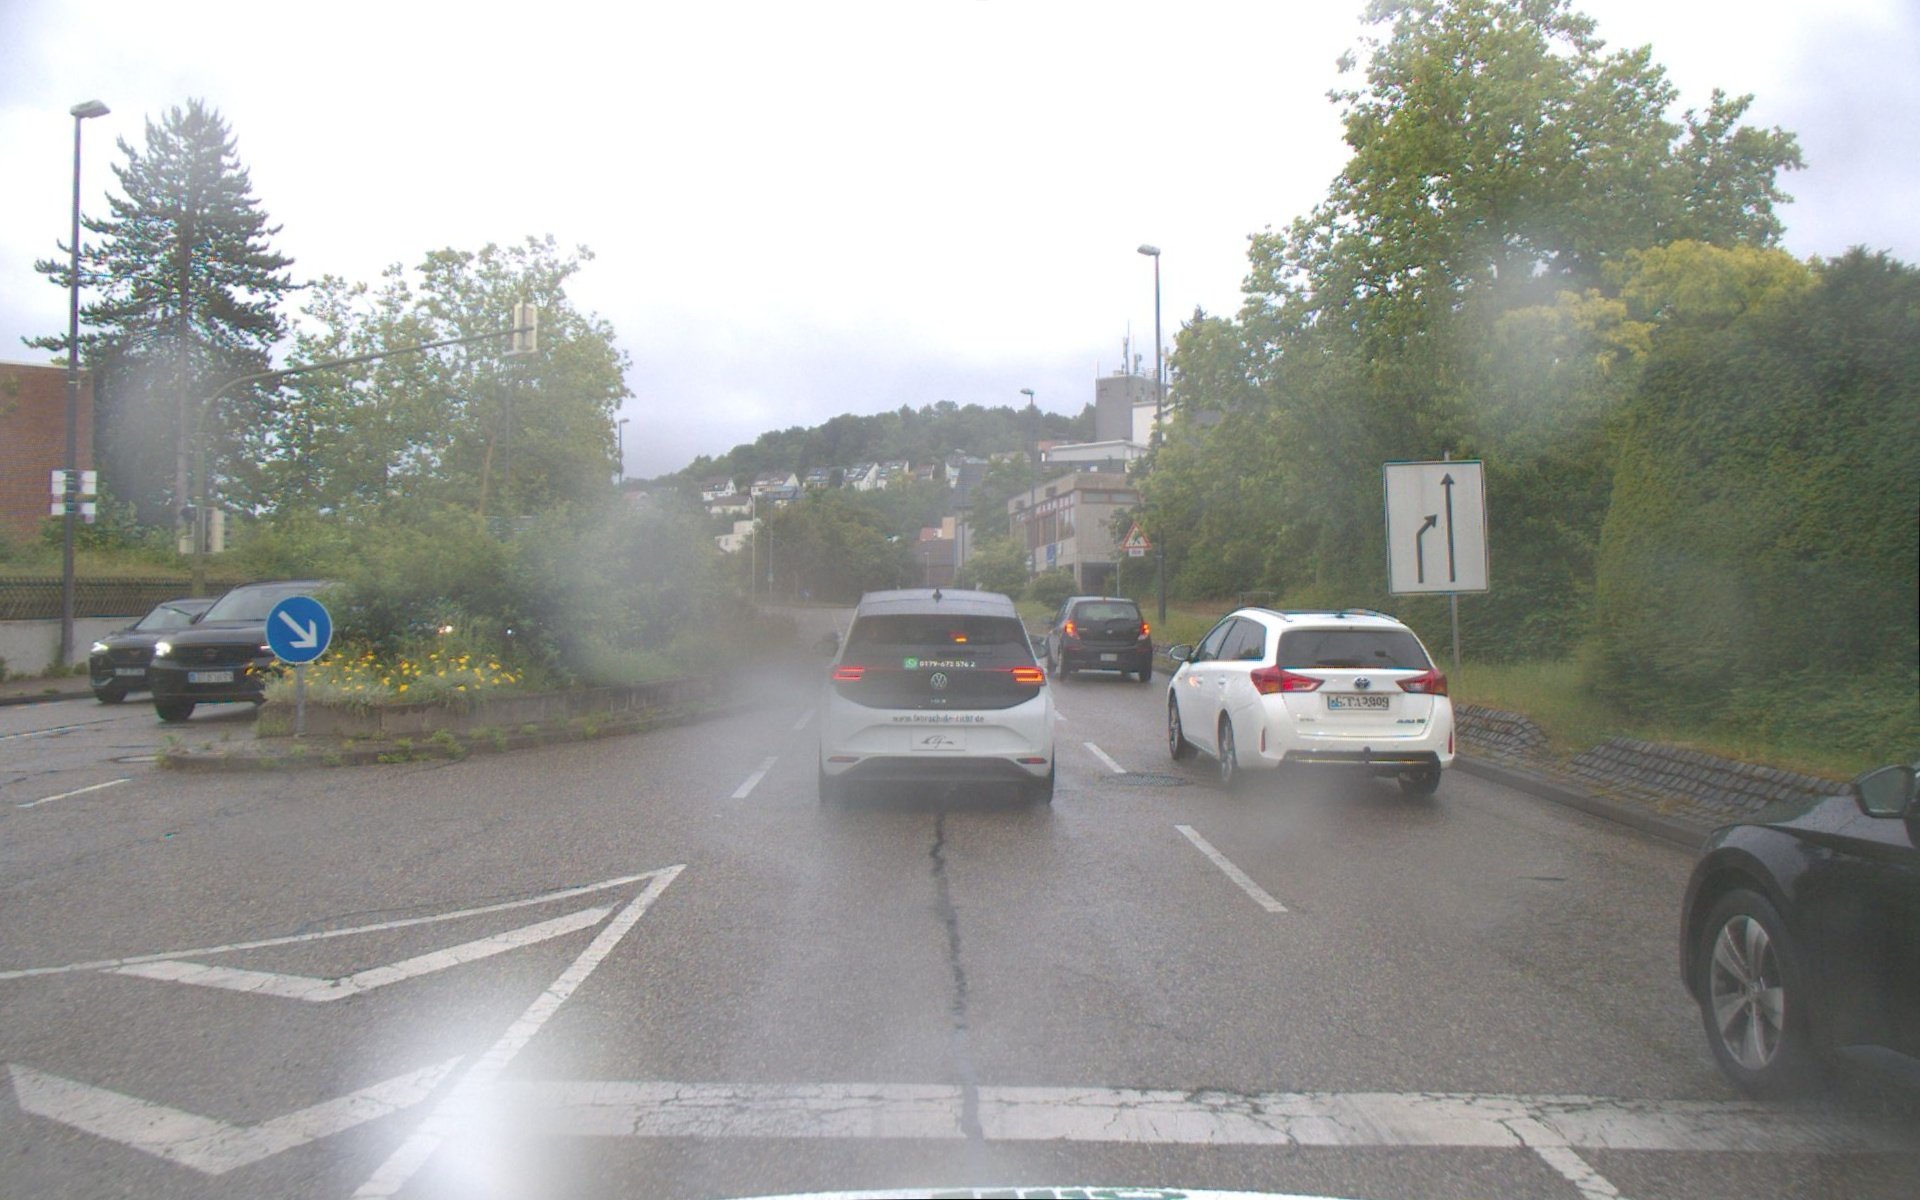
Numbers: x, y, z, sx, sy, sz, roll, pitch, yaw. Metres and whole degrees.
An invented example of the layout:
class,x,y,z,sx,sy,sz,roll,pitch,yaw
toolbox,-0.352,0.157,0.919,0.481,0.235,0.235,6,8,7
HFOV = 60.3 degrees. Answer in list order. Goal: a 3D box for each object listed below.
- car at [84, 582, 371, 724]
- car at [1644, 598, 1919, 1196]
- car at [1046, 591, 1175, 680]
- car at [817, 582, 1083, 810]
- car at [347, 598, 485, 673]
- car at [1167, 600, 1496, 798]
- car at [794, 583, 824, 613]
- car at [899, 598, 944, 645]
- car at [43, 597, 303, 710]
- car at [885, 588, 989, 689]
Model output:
class,x,y,z,sx,sy,sz,roll,pitch,yaw
car,-8.985,0.611,20.692,1.864,1.579,4.073,-1,0,-2
car,3.458,0.796,3.600,1.914,1.534,4.607,3,-1,-1
car,2.725,0.642,30.729,1.953,1.478,3.770,-2,-1,-1
car,-0.098,0.682,13.330,1.791,1.526,4.167,1,-1,-1
car,-12.366,0.774,37.863,1.953,1.606,3.998,-1,0,-2
car,2.995,0.753,14.269,1.810,1.434,4.300,1,-1,-1
car,-10.883,-0.093,119.307,1.954,2.049,3.997,1,-1,-3
car,-1.771,1.000,76.390,1.953,2.049,3.999,1,-1,-1
car,-11.798,0.774,25.153,1.910,1.504,4.294,-2,-1,-1
car,-0.446,0.583,27.556,1.536,1.557,3.997,0,0,-3
